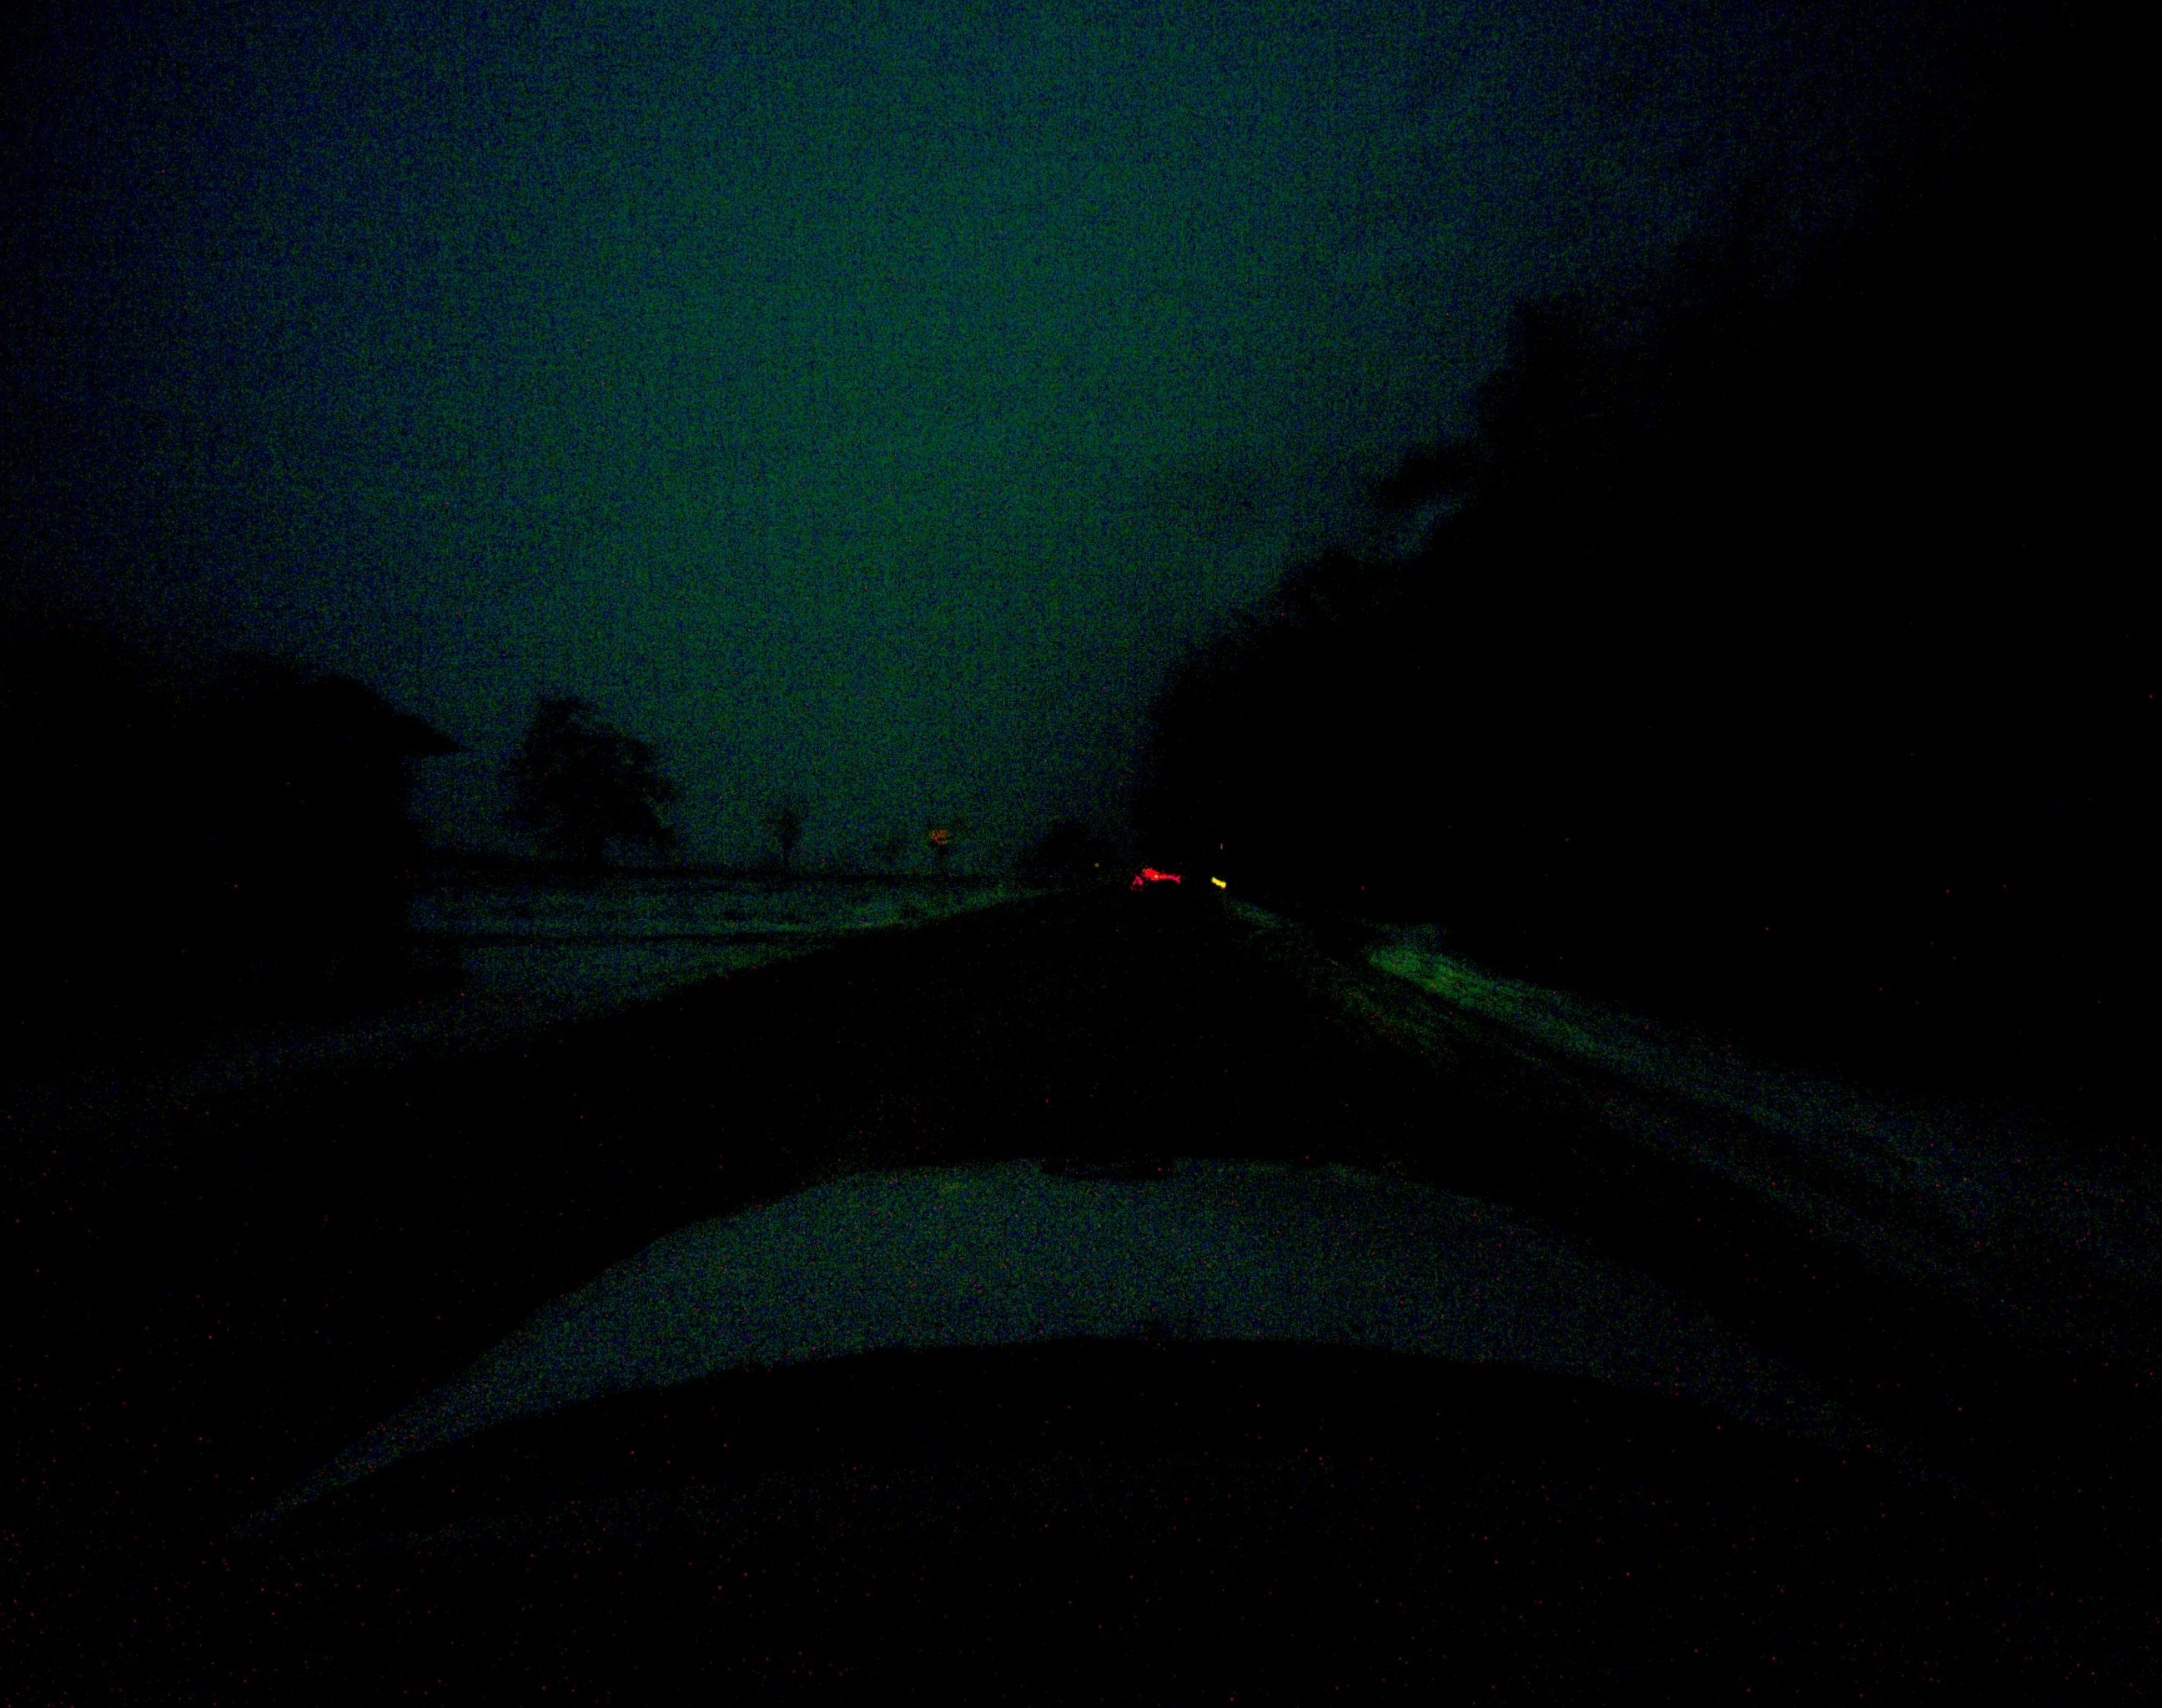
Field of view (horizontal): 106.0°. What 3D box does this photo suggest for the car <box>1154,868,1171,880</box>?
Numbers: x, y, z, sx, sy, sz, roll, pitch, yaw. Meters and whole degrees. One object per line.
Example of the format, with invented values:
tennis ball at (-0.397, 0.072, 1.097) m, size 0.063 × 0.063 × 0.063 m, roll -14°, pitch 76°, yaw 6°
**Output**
car at (10.090, 2.476, 100.687) m, size 1.985 × 1.420 × 4.004 m, roll -1°, pitch -2°, yaw 4°
